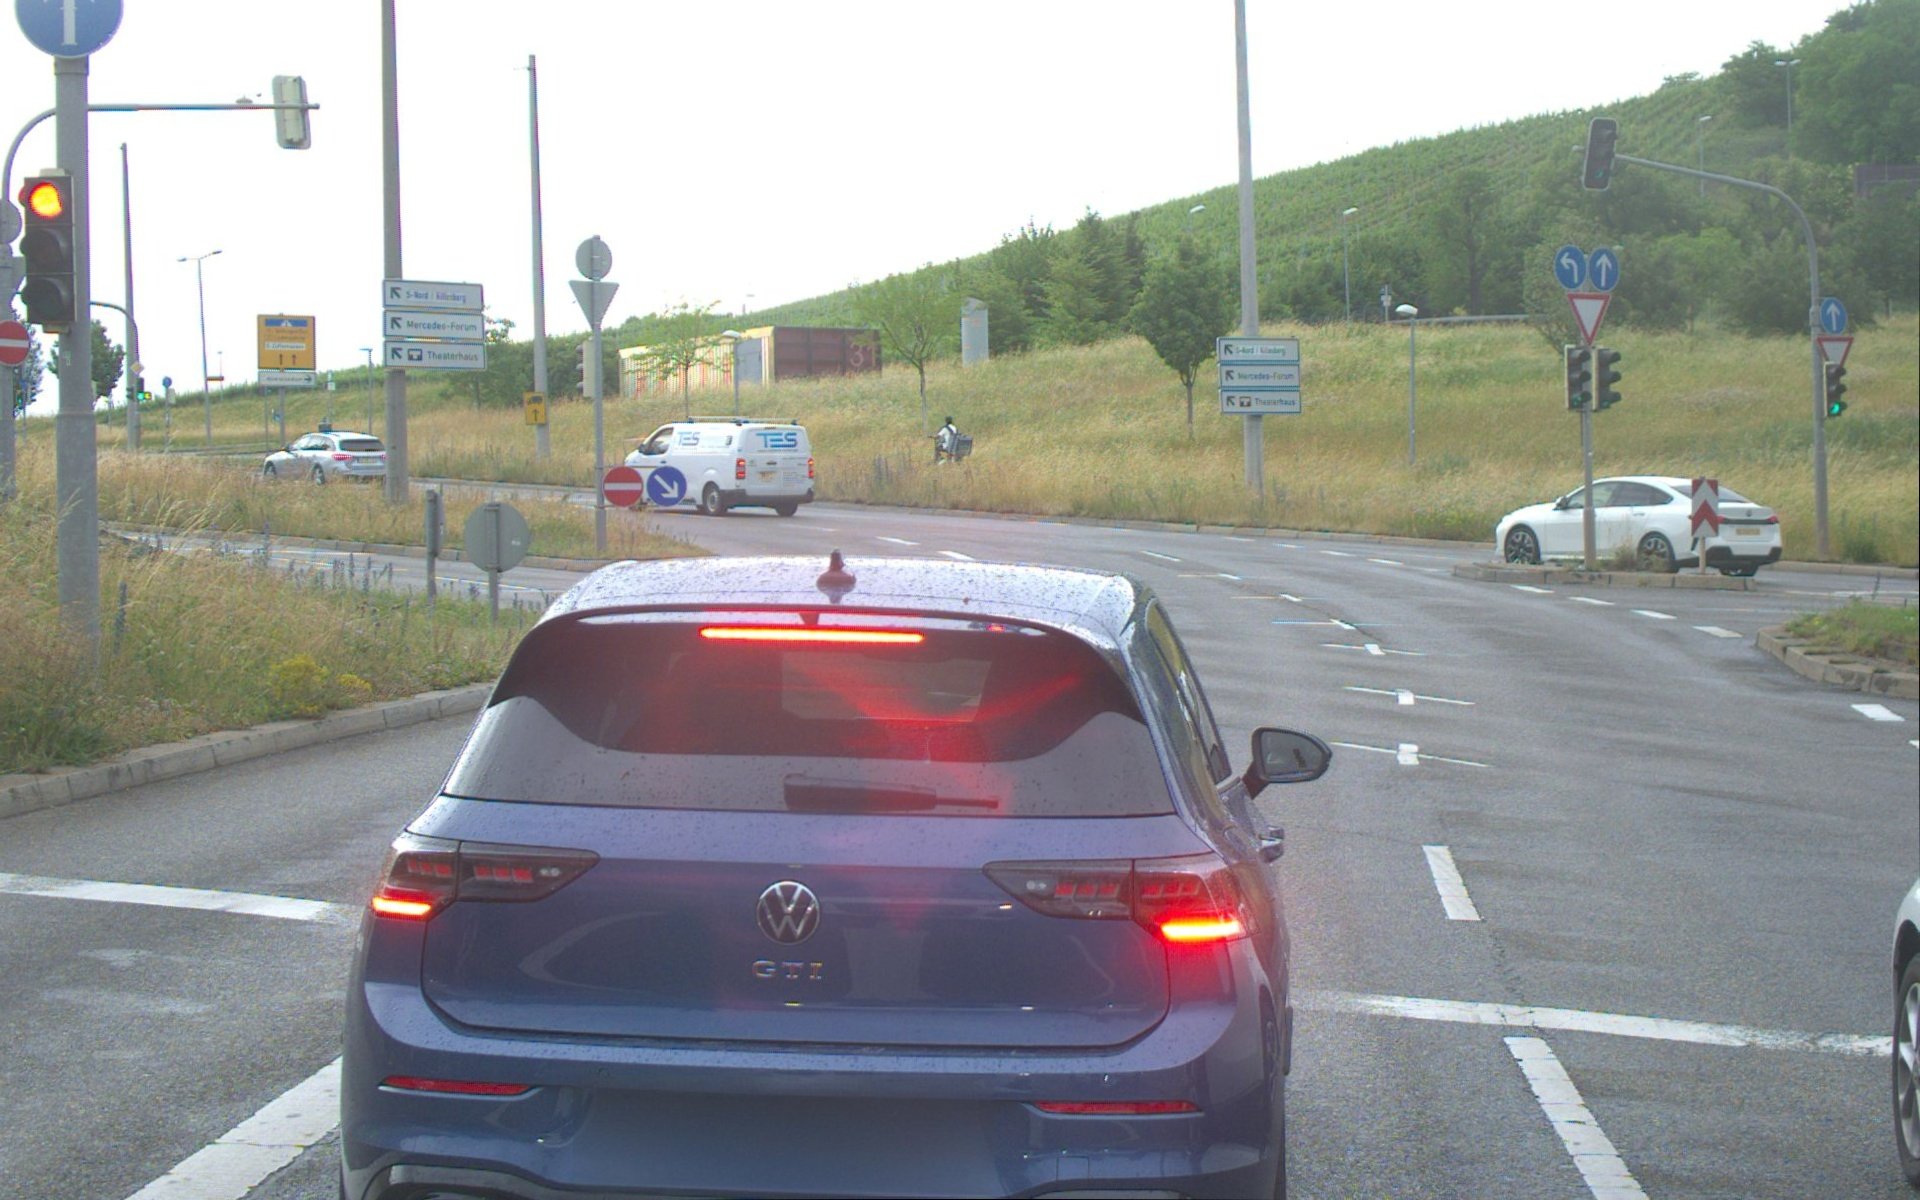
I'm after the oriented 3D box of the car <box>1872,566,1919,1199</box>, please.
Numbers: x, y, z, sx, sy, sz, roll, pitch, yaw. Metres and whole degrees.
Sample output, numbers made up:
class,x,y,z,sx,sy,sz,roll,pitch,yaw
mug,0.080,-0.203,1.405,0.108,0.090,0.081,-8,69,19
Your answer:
class,x,y,z,sx,sy,sz,roll,pitch,yaw
car,2.996,0.686,6.802,1.658,1.498,3.450,1,0,4

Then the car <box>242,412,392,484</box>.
class,x,y,z,sx,sy,sz,roll,pitch,yaw
car,-16.287,-3.823,86.947,1.994,1.654,4.544,0,0,-35

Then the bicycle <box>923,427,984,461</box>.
class,x,y,z,sx,sy,sz,roll,pitch,yaw
bicycle,-0.168,-3.864,84.937,0.518,0.772,1.620,2,2,-42

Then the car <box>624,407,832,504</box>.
class,x,y,z,sx,sy,sz,roll,pitch,yaw
car,-4.745,-2.894,69.737,2.129,1.788,4.740,0,0,-33

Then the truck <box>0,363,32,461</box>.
class,x,y,z,sx,sy,sz,roll,pitch,yaw
truck,-32.940,-6.206,111.636,3.258,3.064,6.176,3,1,-37

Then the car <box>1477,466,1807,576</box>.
class,x,y,z,sx,sy,sz,roll,pitch,yaw
car,9.667,-1.101,49.019,1.994,1.472,4.420,0,0,-37

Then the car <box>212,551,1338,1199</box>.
class,x,y,z,sx,sy,sz,roll,pitch,yaw
car,-0.193,0.652,7.473,1.825,1.455,3.808,1,1,4

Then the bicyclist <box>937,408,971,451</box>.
class,x,y,z,sx,sy,sz,roll,pitch,yaw
bicyclist,-0.154,-4.212,84.943,0.523,1.043,0.580,2,1,-42
